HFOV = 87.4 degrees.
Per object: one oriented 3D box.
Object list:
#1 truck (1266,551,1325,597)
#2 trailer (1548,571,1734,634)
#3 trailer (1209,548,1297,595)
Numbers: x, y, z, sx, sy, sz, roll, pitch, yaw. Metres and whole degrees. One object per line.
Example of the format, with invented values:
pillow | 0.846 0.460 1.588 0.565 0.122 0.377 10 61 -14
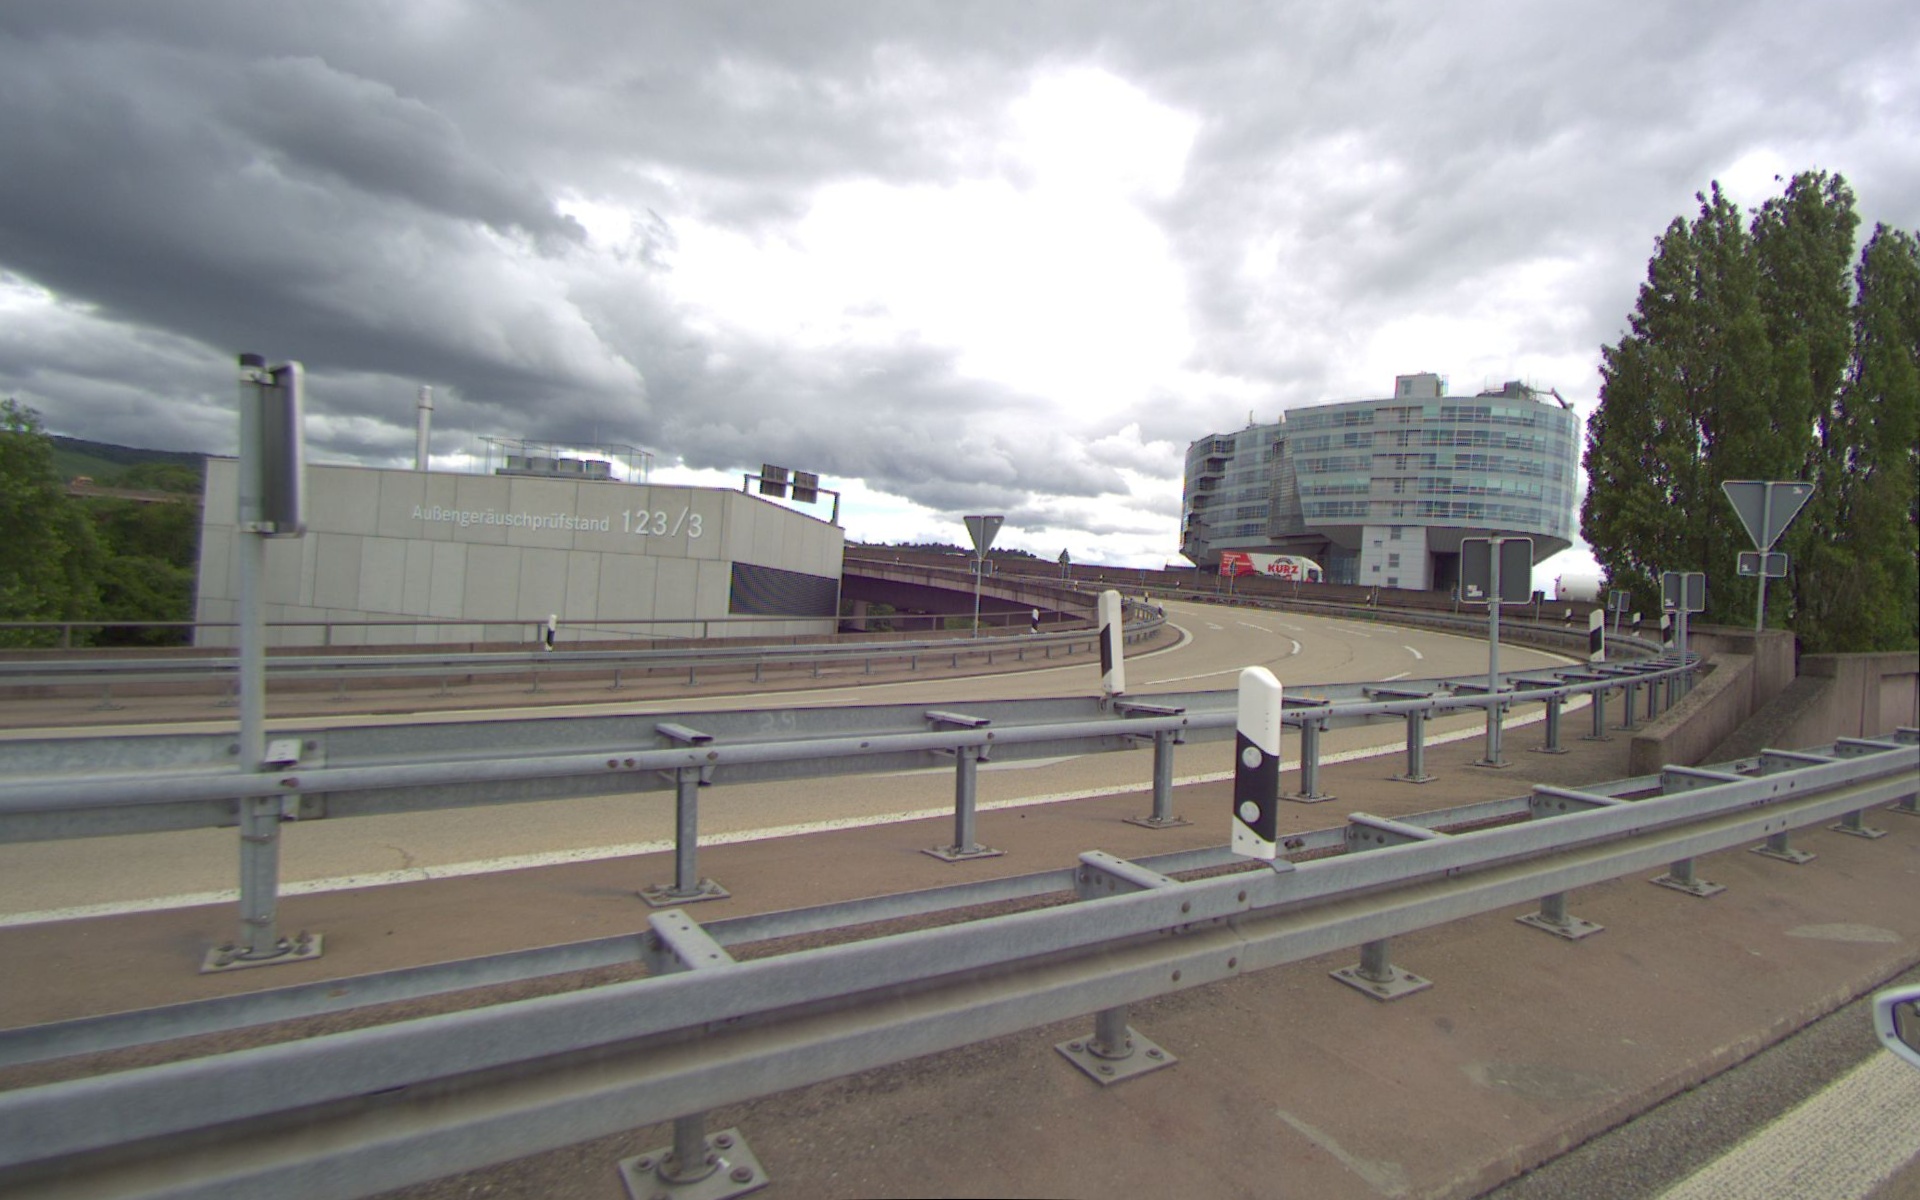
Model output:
truck | 30.321 -2.367 90.671 4.360 3.738 2.695 4 0 30
trailer | 49.806 0.135 73.985 10.957 3.786 2.796 5 0 31
trailer | 26.992 -2.618 92.654 7.182 3.738 2.695 5 0 30
